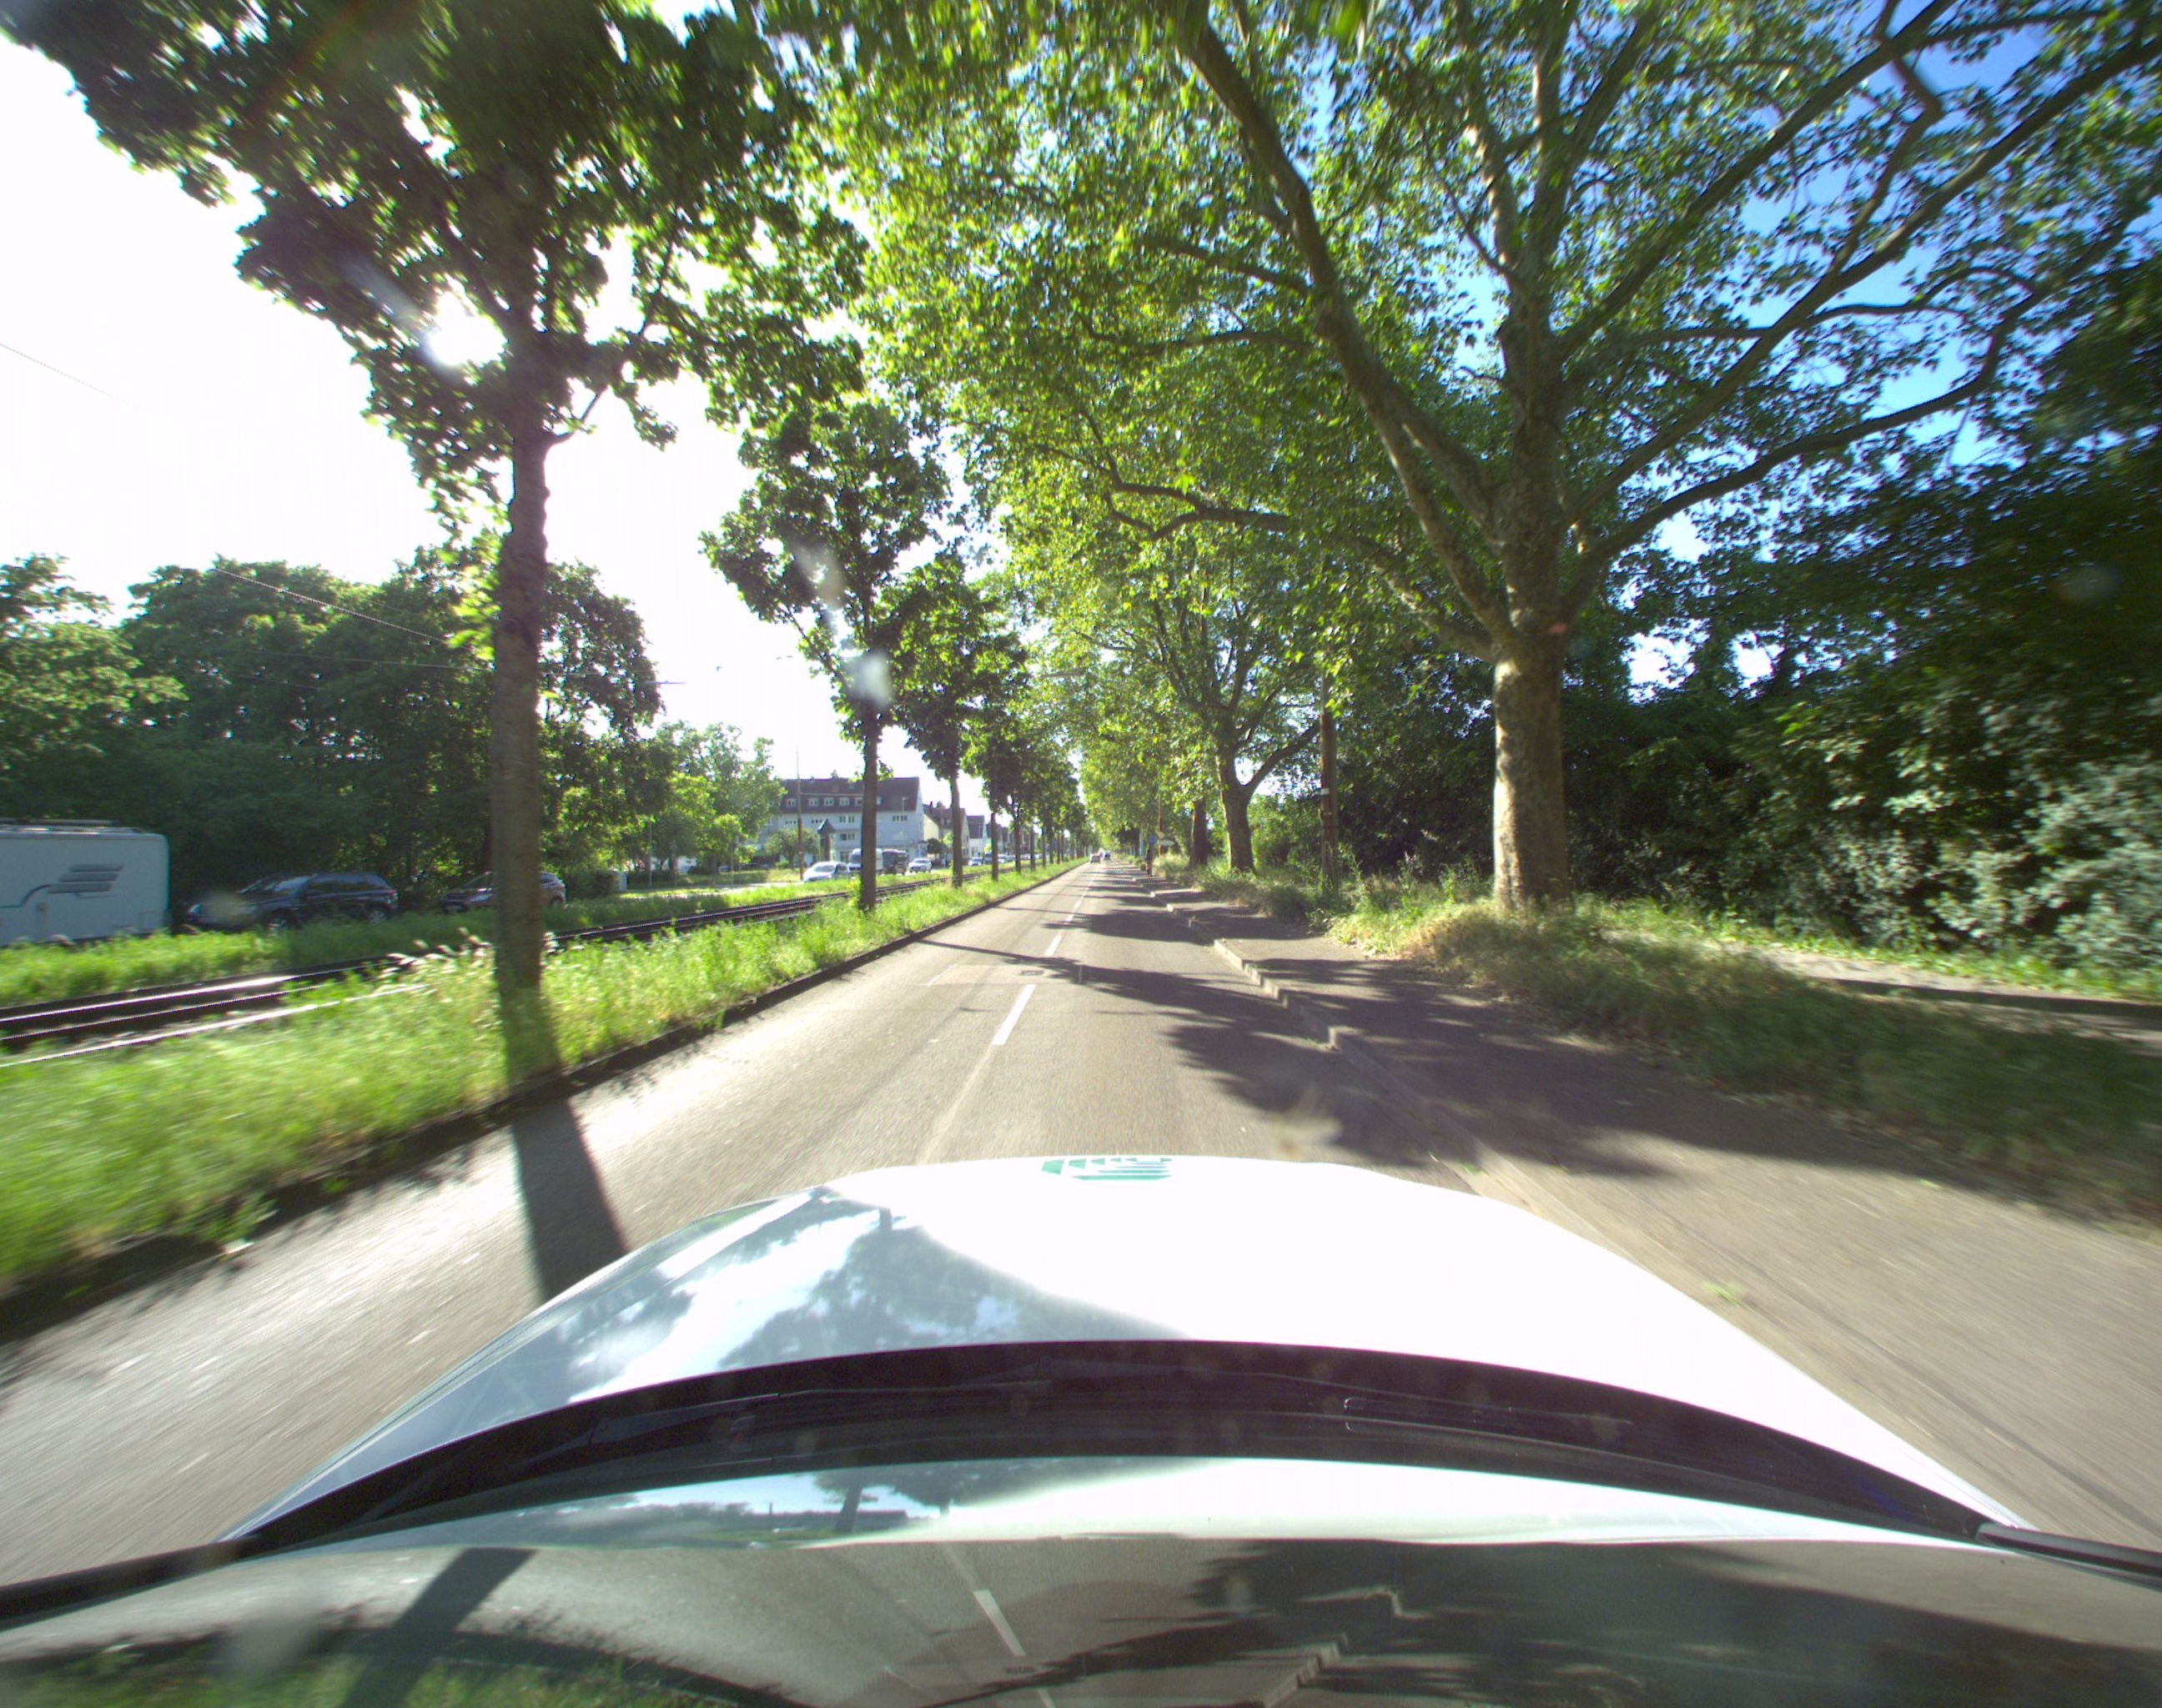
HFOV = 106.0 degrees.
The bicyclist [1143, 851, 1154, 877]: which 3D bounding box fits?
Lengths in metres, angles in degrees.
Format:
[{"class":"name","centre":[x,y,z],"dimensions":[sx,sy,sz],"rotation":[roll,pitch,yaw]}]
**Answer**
[{"class":"bicyclist","centre":[4.236,0.621,51.276],"dimensions":[0.611,1.628,0.910],"rotation":[-2,0,1]}]

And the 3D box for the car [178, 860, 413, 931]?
[{"class":"car","centre":[-20.235,1.005,21.312],"dimensions":[1.616,1.623,4.534],"rotation":[1,-1,1]}]

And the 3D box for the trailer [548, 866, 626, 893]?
[{"class":"trailer","centre":[-30.292,1.542,50.064],"dimensions":[3.758,1.504,1.743],"rotation":[-1,0,-19]}]

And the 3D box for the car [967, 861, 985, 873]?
[{"class":"car","centre":[-13.120,1.624,101.904],"dimensions":[1.551,1.395,3.821],"rotation":[1,-1,1]}]

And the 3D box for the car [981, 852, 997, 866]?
[{"class":"car","centre":[-17.041,0.904,150.929],"dimensions":[1.986,2.459,6.676],"rotation":[1,-1,1]}]

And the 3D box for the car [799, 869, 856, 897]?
[{"class":"car","centre":[-14.730,1.639,47.592],"dimensions":[1.720,1.528,4.444],"rotation":[1,-1,2]}]

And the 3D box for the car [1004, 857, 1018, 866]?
[{"class":"car","centre":[-12.043,1.295,140.444],"dimensions":[1.985,1.531,3.754],"rotation":[-2,0,3]}]

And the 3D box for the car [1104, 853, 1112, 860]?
[{"class":"car","centre":[6.241,0.651,188.695],"dimensions":[1.754,1.513,3.278],"rotation":[1,-1,2]}]

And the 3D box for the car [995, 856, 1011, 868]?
[{"class":"car","centre":[-12.003,1.204,125.221],"dimensions":[1.804,1.744,4.983],"rotation":[1,-1,2]}]

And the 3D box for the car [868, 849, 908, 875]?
[{"class":"car","centre":[-18.597,0.771,78.826],"dimensions":[2.174,2.376,6.467],"rotation":[1,-1,2]}]

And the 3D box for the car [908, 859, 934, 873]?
[{"class":"car","centre":[-18.134,1.355,92.529],"dimensions":[1.816,1.607,4.775],"rotation":[1,-1,2]}]

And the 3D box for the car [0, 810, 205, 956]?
[{"class":"car","centre":[-20.253,0.499,14.276],"dimensions":[2.217,2.580,6.801],"rotation":[1,0,2]}]

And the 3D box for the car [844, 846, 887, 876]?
[{"class":"car","centre":[-18.803,0.636,71.386],"dimensions":[1.994,2.497,6.138],"rotation":[1,-1,1]}]

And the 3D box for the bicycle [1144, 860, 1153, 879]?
[{"class":"bicycle","centre":[4.245,0.947,51.256],"dimensions":[0.438,1.153,1.824],"rotation":[-2,0,2]}]

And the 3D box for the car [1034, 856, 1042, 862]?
[{"class":"car","centre":[-10.608,1.207,202.461],"dimensions":[1.670,1.410,4.002],"rotation":[-2,0,2]}]

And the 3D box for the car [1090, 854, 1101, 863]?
[{"class":"car","centre":[2.446,0.775,132.898],"dimensions":[1.732,1.401,3.277],"rotation":[1,-1,1]}]

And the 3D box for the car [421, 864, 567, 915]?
[{"class":"car","centre":[-19.945,1.143,27.928],"dimensions":[1.667,1.584,4.251],"rotation":[1,-1,3]}]

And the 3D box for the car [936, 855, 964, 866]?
[{"class":"car","centre":[-22.047,1.086,137.383],"dimensions":[4.616,1.945,1.994],"rotation":[0,-1,-9]}]

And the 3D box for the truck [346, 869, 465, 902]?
[{"class":"truck","centre":[-40.143,1.864,48.548],"dimensions":[4.939,1.869,2.071],"rotation":[1,-1,-18]}]
